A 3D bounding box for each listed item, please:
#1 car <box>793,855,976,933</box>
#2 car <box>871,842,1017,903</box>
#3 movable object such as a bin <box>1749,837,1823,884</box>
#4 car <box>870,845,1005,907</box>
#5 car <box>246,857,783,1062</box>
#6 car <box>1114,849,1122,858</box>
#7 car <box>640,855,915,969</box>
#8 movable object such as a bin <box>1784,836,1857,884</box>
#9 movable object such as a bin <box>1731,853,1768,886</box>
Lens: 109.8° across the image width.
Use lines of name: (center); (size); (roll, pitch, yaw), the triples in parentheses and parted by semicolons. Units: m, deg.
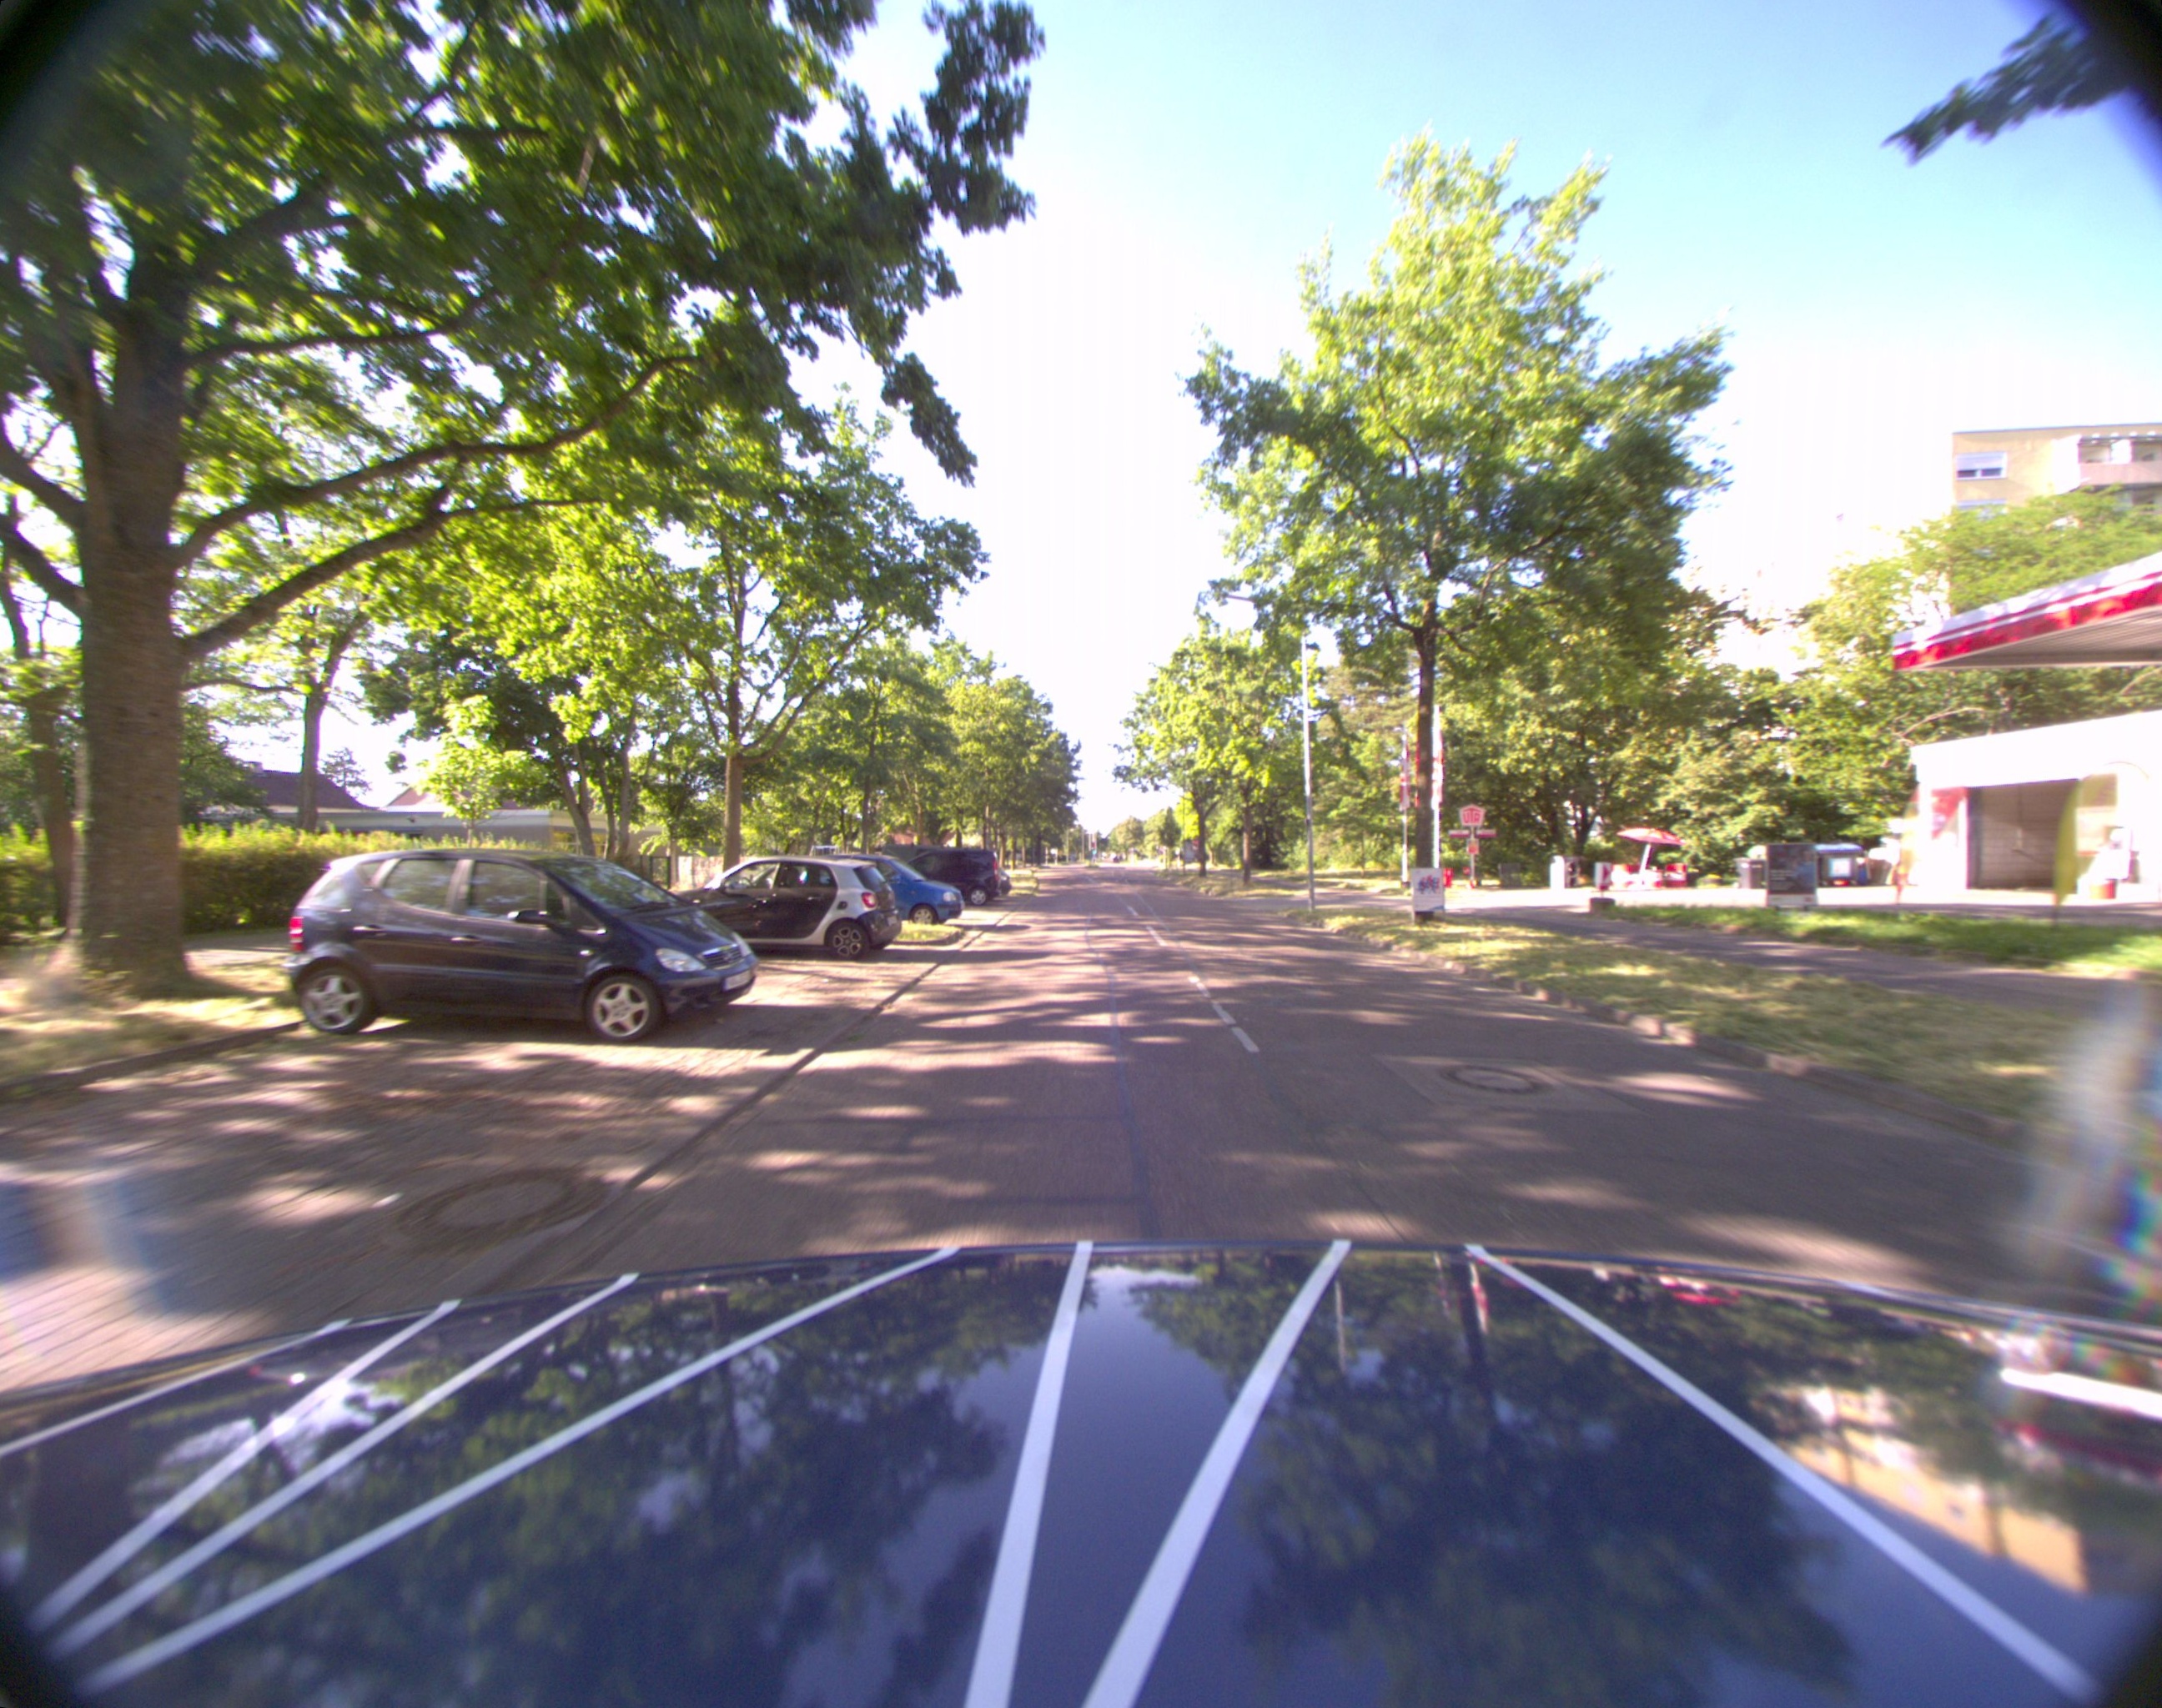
car: (-4.231, 0.830, 16.681); (3.529, 1.523, 1.665); (1, 1, 2)
car: (-4.757, 0.623, 26.914); (4.815, 2.020, 1.944); (1, 1, 0)
movable object such as a bin: (23.551, 0.209, 25.407); (1.307, 1.533, 1.268); (0, 1, 1)
car: (-4.535, 0.679, 24.438); (4.020, 1.826, 1.799); (1, 1, -2)
car: (-4.944, 0.863, 7.077); (3.593, 1.567, 1.857); (1, 1, 0)
car: (9.080, -0.138, 186.659); (1.904, 2.082, 3.641); (2, 0, 1)
car: (-4.649, 0.852, 12.010); (3.592, 1.567, 1.786); (1, 1, 2)
movable object such as a bin: (24.651, 0.182, 25.361); (1.307, 1.533, 1.164); (-2, 1, 1)
movable object such as a bin: (22.486, 0.506, 25.581); (0.570, 1.079, 0.768); (0, 1, 1)
